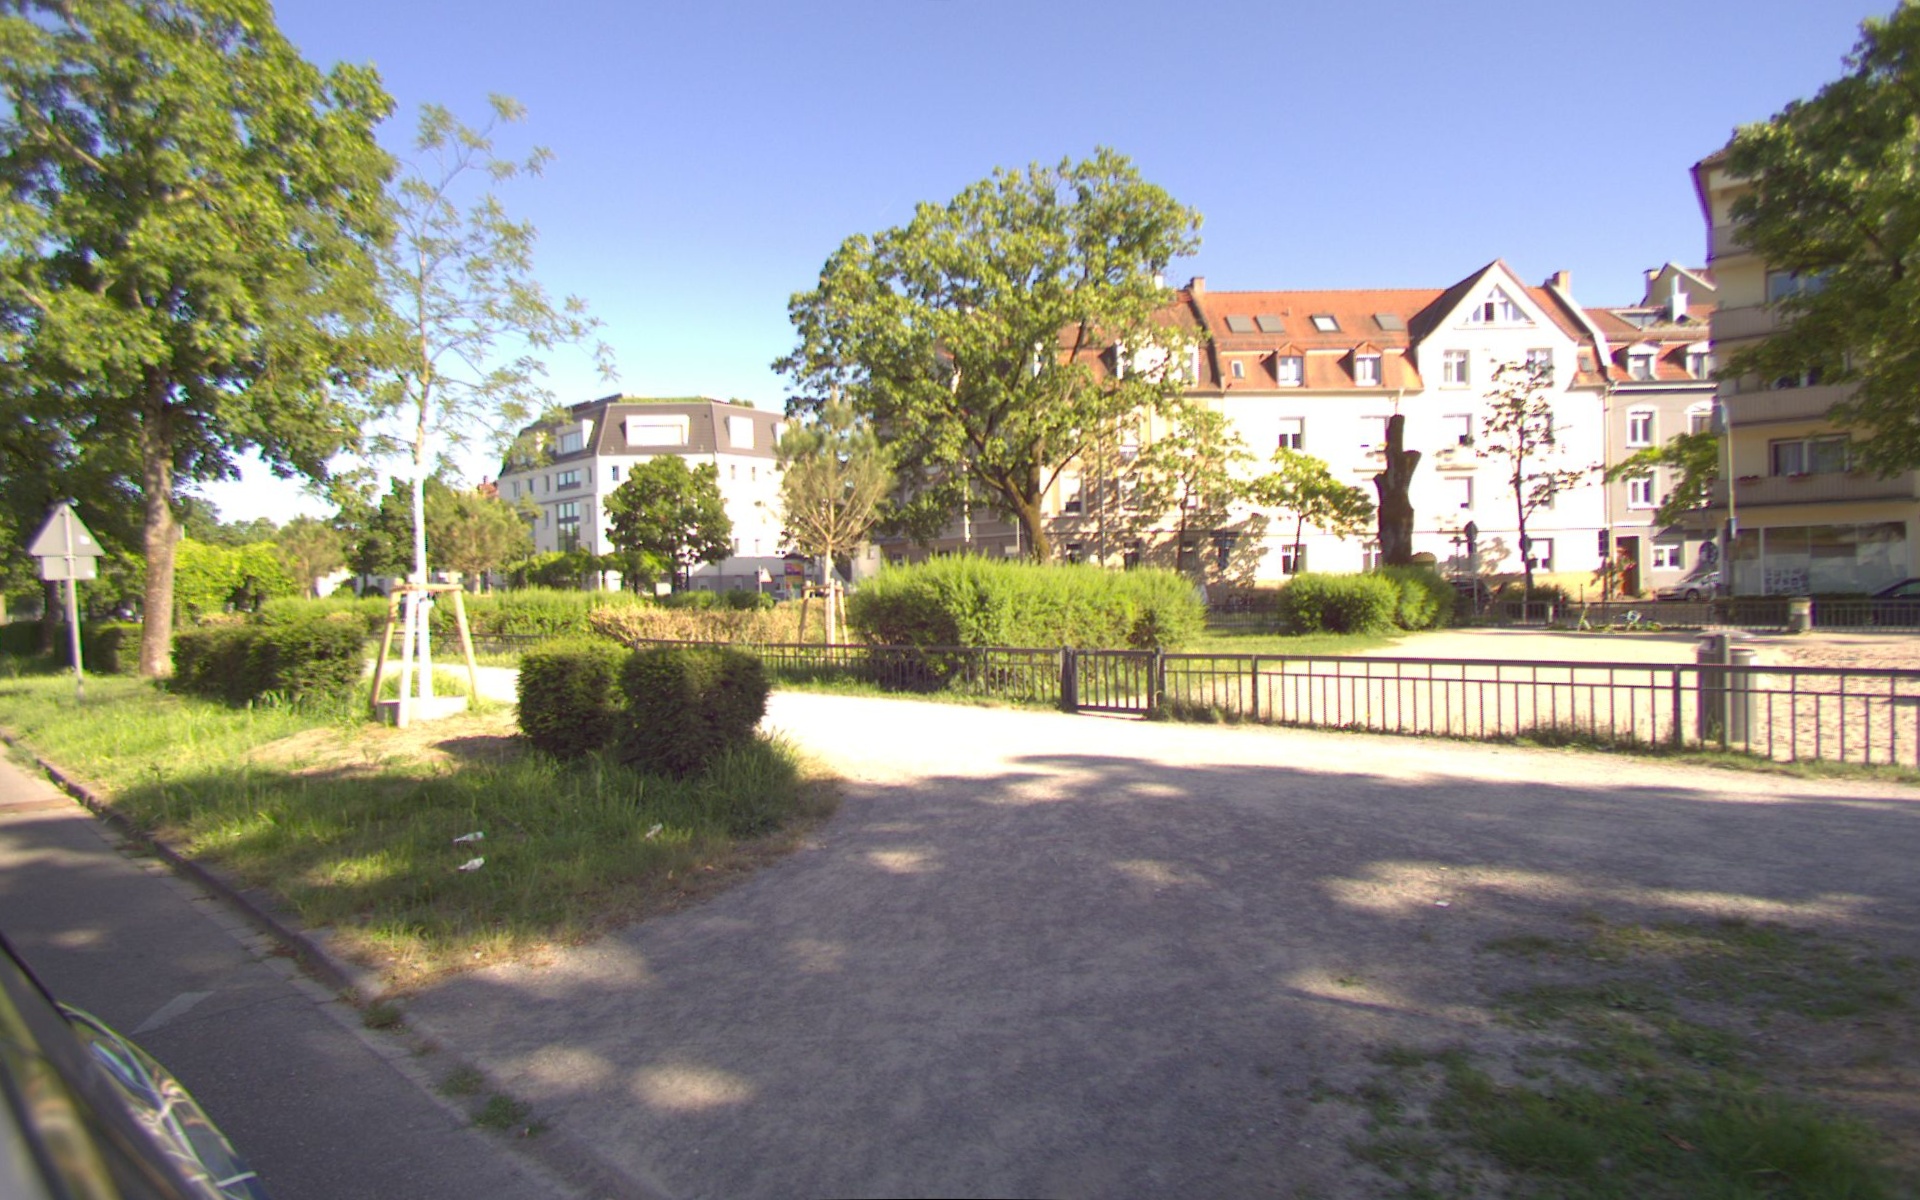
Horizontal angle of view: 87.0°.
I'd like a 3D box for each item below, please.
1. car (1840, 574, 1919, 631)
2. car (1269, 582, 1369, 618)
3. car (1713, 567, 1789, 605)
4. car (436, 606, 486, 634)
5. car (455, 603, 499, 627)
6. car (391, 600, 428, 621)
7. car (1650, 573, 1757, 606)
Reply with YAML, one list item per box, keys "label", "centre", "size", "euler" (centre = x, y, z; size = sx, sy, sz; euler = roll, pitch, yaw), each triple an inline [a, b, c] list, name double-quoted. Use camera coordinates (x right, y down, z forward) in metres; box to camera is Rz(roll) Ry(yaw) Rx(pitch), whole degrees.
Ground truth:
- label: "car"
  centre: [26.603, 0.037, 27.518]
  size: [3.999, 1.521, 1.775]
  euler: [-2, 0, 42]
- label: "car"
  centre: [16.429, -0.017, 46.376]
  size: [3.933, 1.521, 1.805]
  euler: [-1, 0, -14]
- label: "car"
  centre: [33.492, -0.568, 42.962]
  size: [1.791, 1.522, 3.962]
  euler: [-1, -1, 28]
- label: "car"
  centre: [-38.112, 1.533, 77.205]
  size: [4.403, 2.044, 1.846]
  euler: [-3, -2, 41]
- label: "car"
  centre: [-42.566, 1.345, 89.155]
  size: [4.403, 2.044, 1.846]
  euler: [-1, -1, 41]
- label: "car"
  centre: [-53.556, 1.013, 98.401]
  size: [4.406, 2.044, 1.915]
  euler: [-1, -1, 43]
- label: "car"
  centre: [37.134, -0.510, 50.606]
  size: [3.944, 1.522, 1.800]
  euler: [-1, -1, 0]
